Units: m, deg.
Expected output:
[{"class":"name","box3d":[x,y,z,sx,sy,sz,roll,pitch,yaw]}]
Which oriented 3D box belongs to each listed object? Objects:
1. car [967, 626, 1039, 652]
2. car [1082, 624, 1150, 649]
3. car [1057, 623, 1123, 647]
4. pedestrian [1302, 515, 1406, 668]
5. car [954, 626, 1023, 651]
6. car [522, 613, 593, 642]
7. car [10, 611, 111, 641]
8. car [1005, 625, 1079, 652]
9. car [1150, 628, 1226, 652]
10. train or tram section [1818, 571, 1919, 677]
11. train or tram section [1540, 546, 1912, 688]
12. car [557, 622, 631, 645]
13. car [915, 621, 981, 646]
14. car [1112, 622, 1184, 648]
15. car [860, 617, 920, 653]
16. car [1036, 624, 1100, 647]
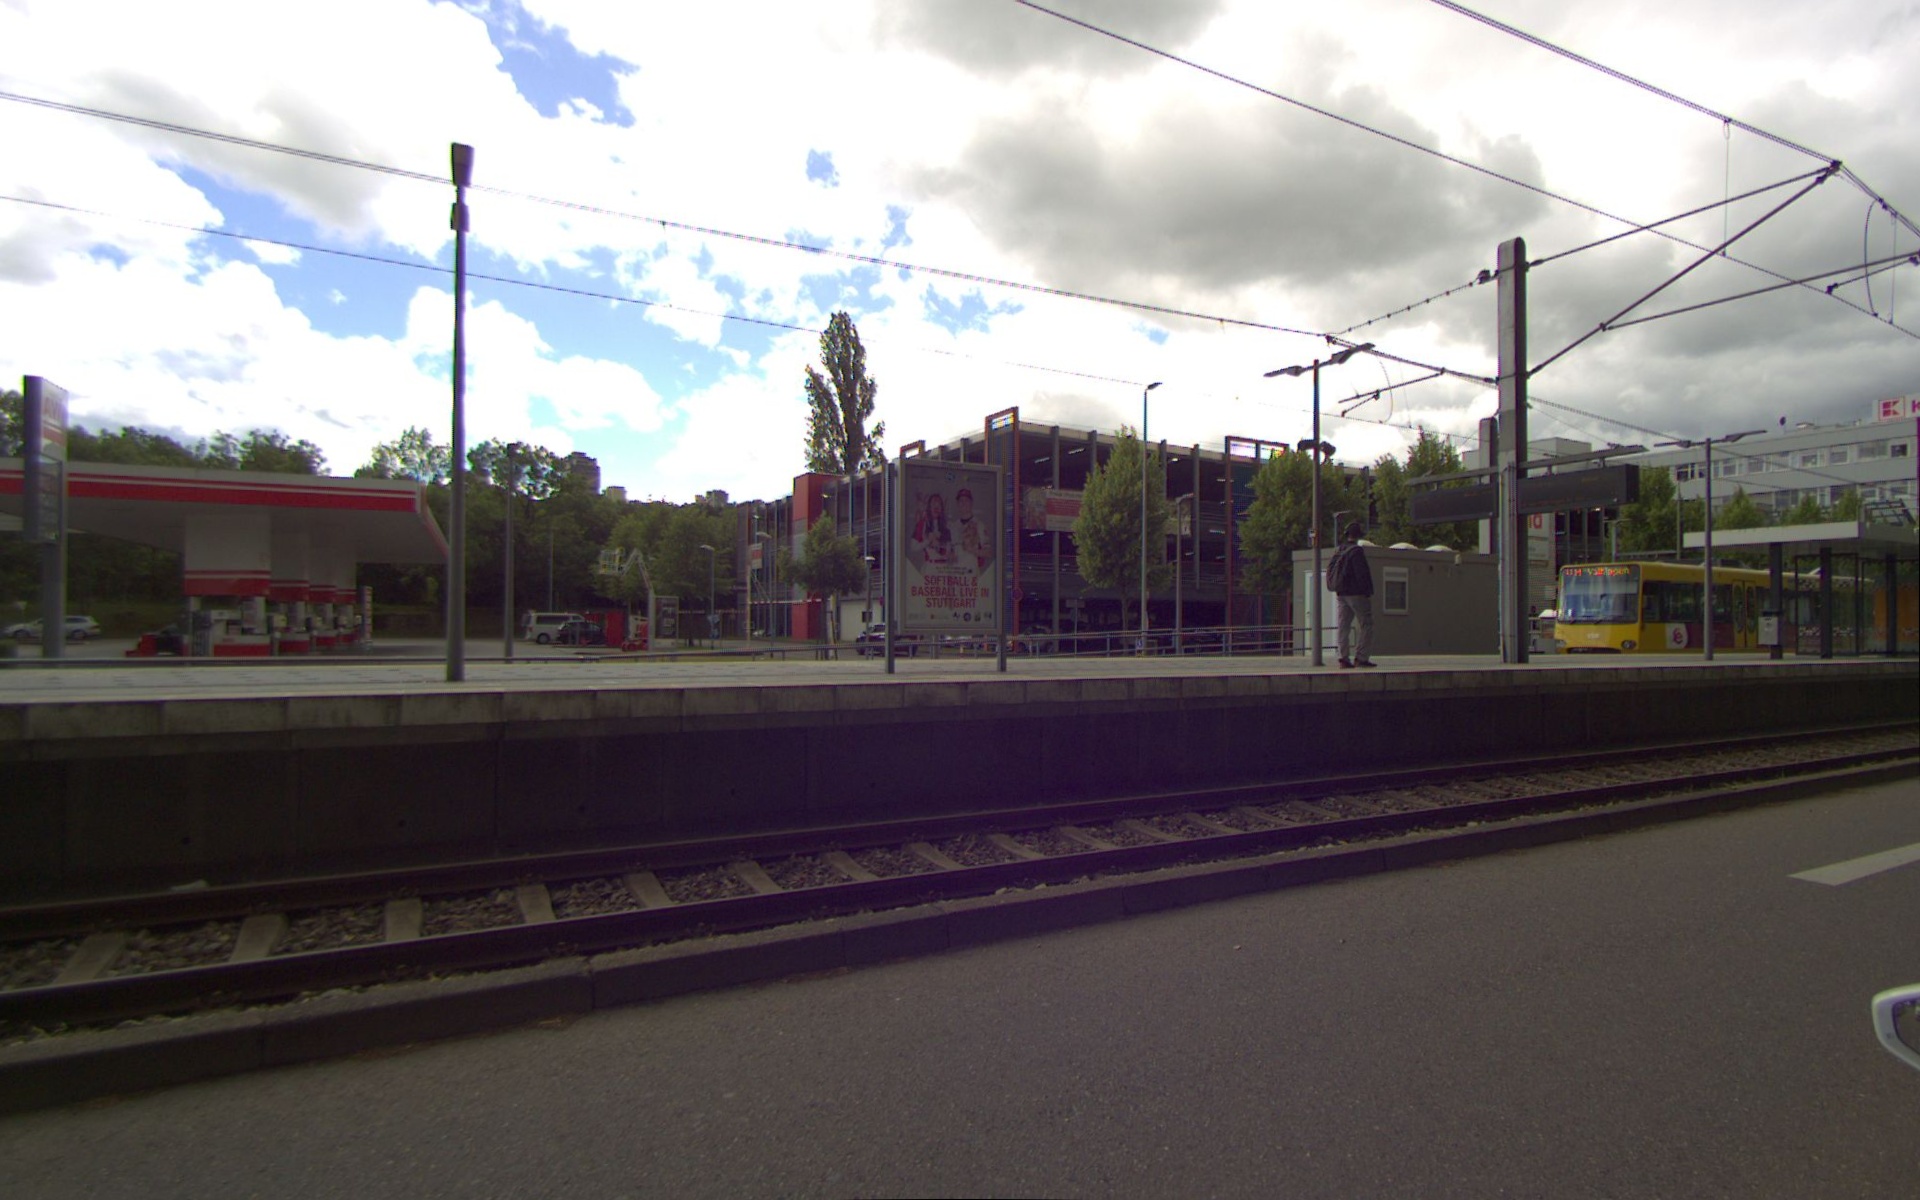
[{"class":"car","box3d":[2.237,2.052,52.546,3.500,1.327,1.528,1,-3,-30]},{"class":"car","box3d":[9.711,2.256,62.444,3.953,1.476,1.814,1,-2,-31]},{"class":"car","box3d":[8.402,2.238,64.816,3.953,1.476,1.814,1,-2,-31]},{"class":"pedestrian","box3d":[4.770,-0.076,12.182,0.926,1.767,0.745,1,-3,-30]},{"class":"car","box3d":[1.544,2.085,54.342,3.500,1.327,1.527,1,-1,-30]},{"class":"car","box3d":[-26.222,1.818,65.448,4.013,1.775,1.900,2,-3,-32]},{"class":"car","box3d":[-54.833,1.633,61.351,4.405,1.728,1.895,2,-3,-38]},{"class":"car","box3d":[4.133,1.950,50.516,3.500,1.327,1.528,1,-3,-30]},{"class":"car","box3d":[13.066,2.283,57.609,3.952,1.327,1.985,1,-3,-30]},{"class":"train or tram section","box3d":[42.227,1.172,42.477,18.404,3.878,2.745,2,-3,-29]},{"class":"train or tram section","box3d":[26.221,0.699,33.582,18.404,3.933,2.745,1,-2,-29]},{"class":"car","box3d":[-22.545,2.102,61.852,4.013,1.383,1.900,2,-3,-31]},{"class":"car","box3d":[-0.717,1.970,59.203,3.517,1.433,1.709,1,-3,-30]},{"class":"car","box3d":[11.320,2.117,60.400,3.952,1.492,1.985,1,-3,-30]},{"class":"car","box3d":[-3.575,1.720,50.536,1.625,1.728,3.785,1,-1,-28]},{"class":"car","box3d":[7.163,2.325,66.519,3.955,1.476,1.813,1,-2,-32]}]
